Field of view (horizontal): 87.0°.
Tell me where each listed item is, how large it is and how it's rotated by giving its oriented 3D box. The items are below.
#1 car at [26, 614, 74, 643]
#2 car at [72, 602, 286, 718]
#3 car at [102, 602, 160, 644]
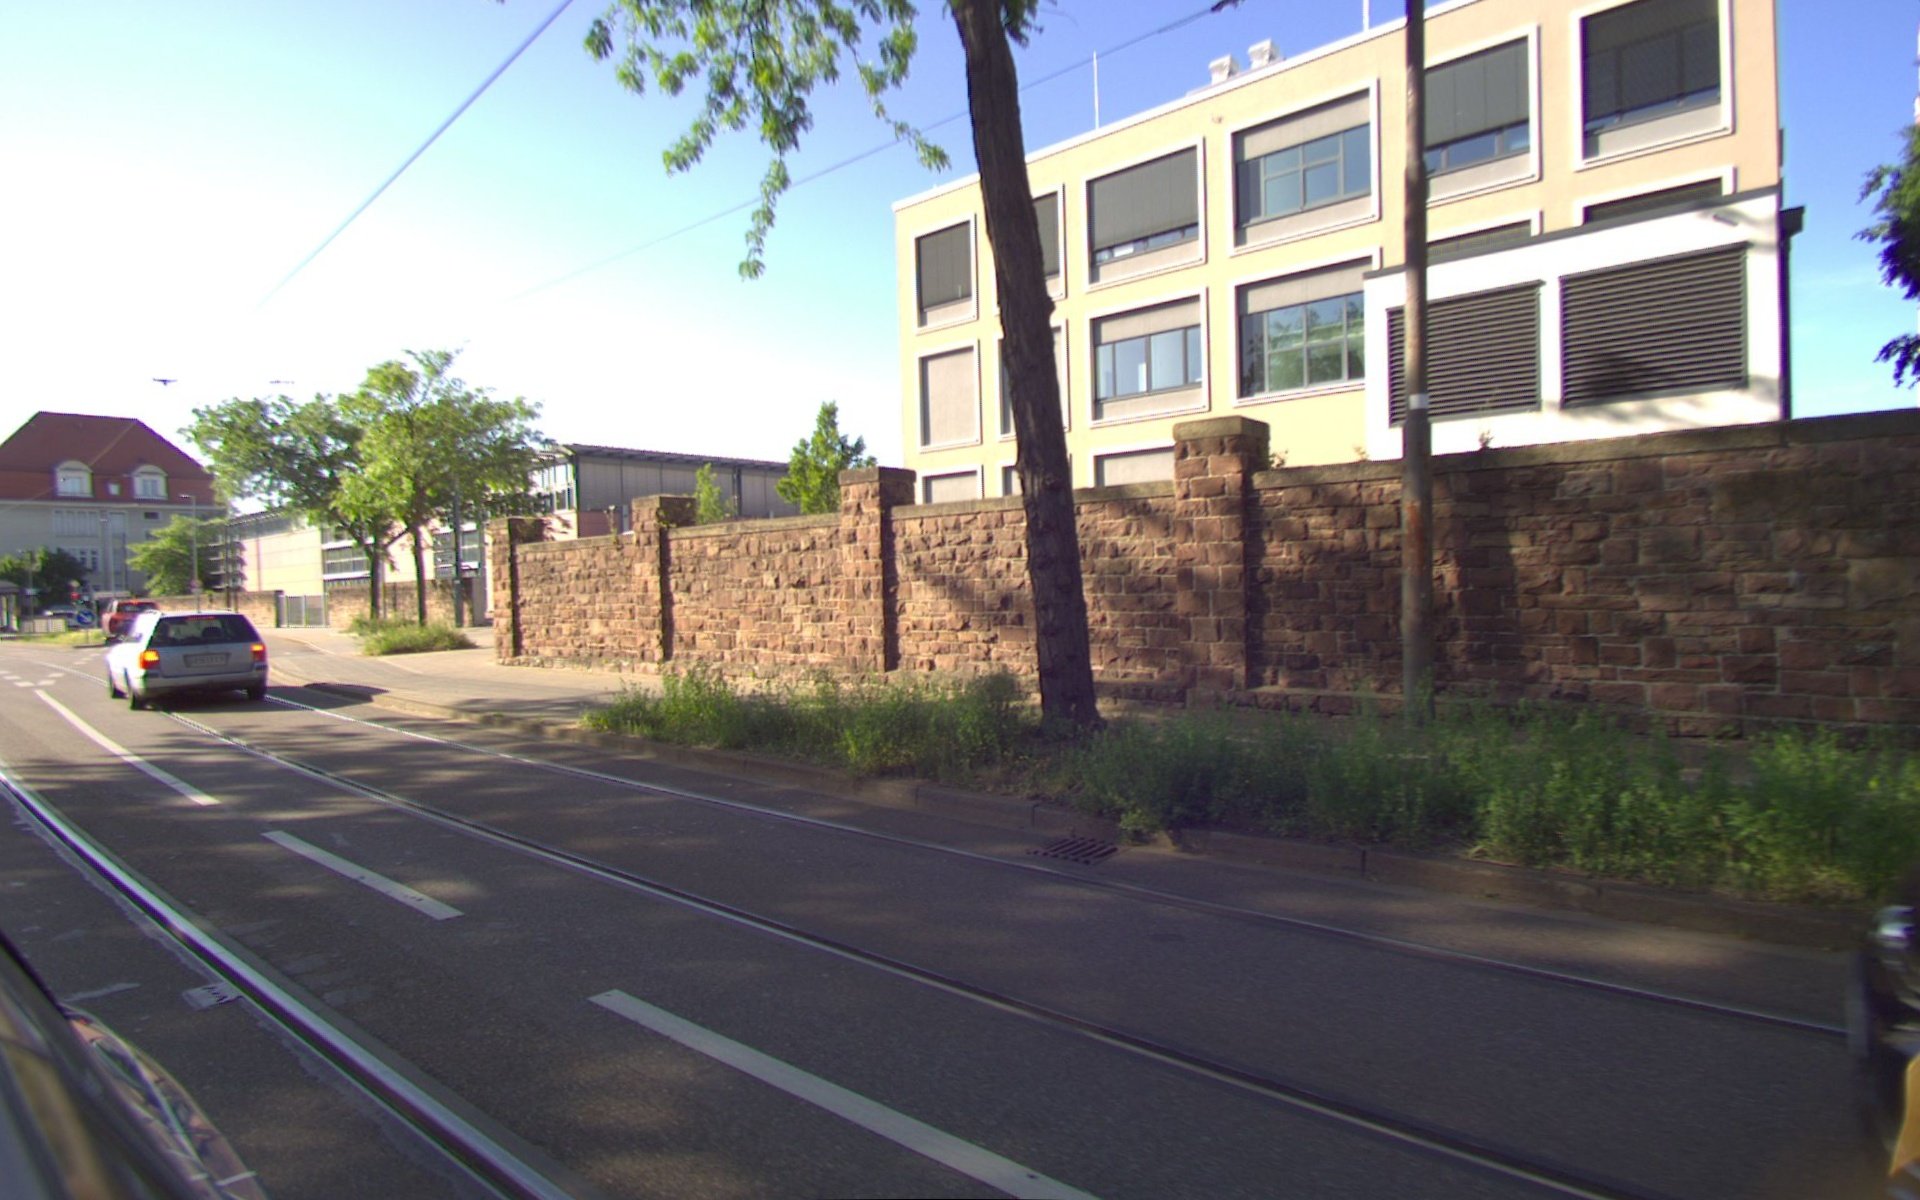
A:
[{"bbox_3d":[-58.006,1.814,64.501,4.207,1.676,1.747,-1,0,41],"label":"car"},{"bbox_3d":[-12.633,0.868,16.258,4.580,1.535,1.972,-1,1,43],"label":"car"},{"bbox_3d":[-42.974,1.185,52.419,1.970,1.980,4.939,-2,1,-43],"label":"car"}]
